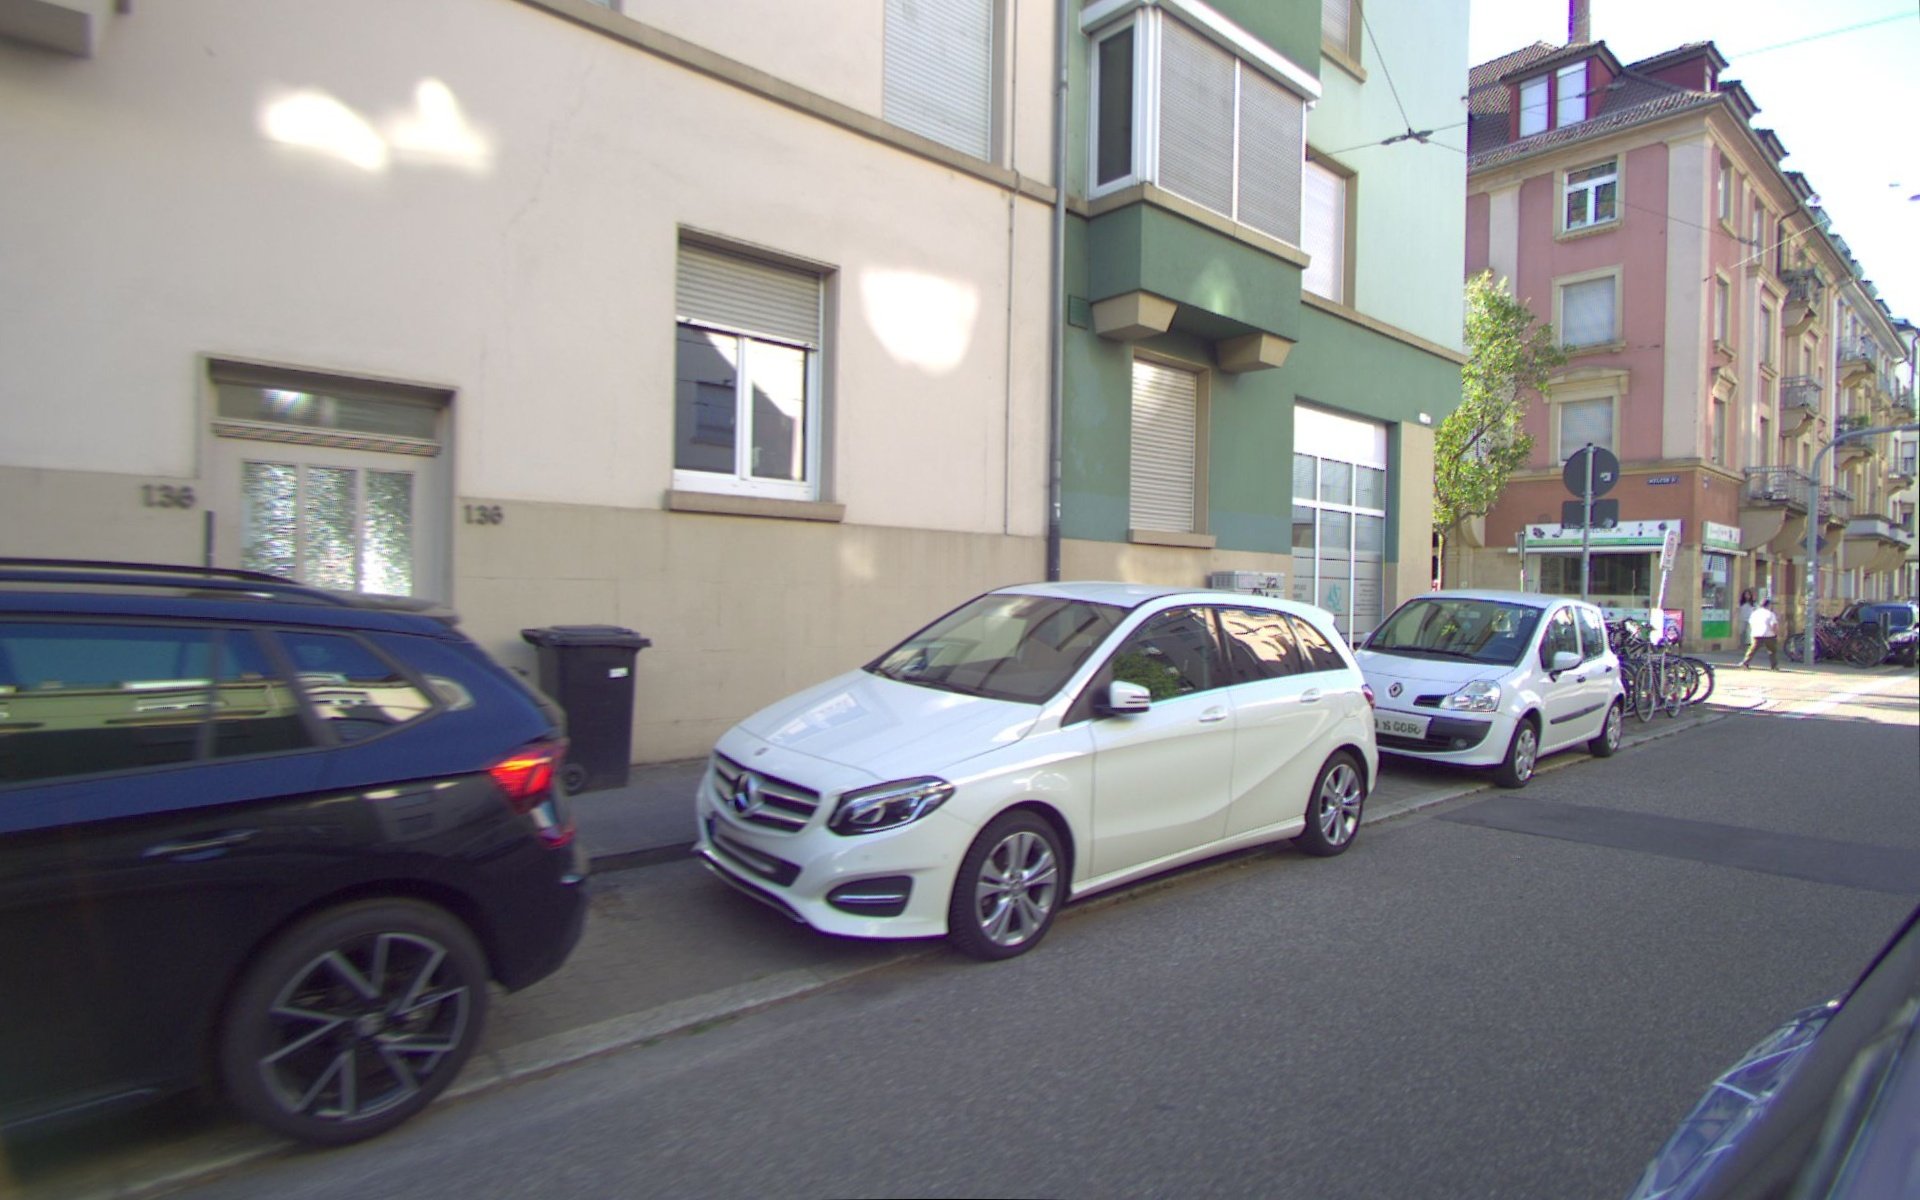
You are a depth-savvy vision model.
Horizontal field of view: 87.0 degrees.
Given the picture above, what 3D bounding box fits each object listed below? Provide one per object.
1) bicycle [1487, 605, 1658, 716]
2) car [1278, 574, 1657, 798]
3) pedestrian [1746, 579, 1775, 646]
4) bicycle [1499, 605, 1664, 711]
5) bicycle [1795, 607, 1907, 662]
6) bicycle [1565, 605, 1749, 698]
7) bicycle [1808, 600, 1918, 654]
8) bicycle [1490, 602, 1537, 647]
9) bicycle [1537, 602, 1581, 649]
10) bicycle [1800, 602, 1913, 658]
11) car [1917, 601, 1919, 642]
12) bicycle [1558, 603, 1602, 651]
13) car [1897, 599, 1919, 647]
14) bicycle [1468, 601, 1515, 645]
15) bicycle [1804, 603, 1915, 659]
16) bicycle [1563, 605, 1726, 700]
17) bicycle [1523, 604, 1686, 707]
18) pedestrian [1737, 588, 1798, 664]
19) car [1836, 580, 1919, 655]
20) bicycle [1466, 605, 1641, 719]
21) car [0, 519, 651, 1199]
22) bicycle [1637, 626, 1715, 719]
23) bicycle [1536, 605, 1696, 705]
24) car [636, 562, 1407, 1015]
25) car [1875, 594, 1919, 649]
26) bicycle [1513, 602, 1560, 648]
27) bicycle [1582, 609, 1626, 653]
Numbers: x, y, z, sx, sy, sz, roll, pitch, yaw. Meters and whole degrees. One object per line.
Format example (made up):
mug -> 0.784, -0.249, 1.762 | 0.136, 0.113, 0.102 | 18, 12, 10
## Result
bicycle -> 7.669, 0.718, 12.752 | 0.461, 1.168, 1.727 | 1, 4, -40
car -> 4.848, 0.609, 9.442 | 3.930, 1.652, 1.787 | 0, 1, -41
pedestrian -> 20.801, 0.322, 26.305 | 0.440, 1.708, 0.514 | 1, 0, -41
bicycle -> 8.075, 0.715, 13.219 | 0.461, 1.168, 1.727 | 1, 4, -40
bicycle -> 21.224, 0.801, 24.151 | 0.518, 1.175, 1.927 | 0, 2, -40
bicycle -> 10.437, 0.728, 15.227 | 0.833, 1.168, 2.092 | 0, 3, -40
bicycle -> 22.500, 0.650, 25.248 | 0.518, 1.242, 1.963 | 0, 2, -40
bicycle -> 14.842, 0.637, 27.122 | 1.698, 1.169, 0.544 | 0, 0, -41
bicycle -> 15.563, 0.652, 26.282 | 1.698, 1.169, 0.468 | 0, 0, -41
bicycle -> 21.678, 0.704, 24.497 | 0.518, 1.242, 1.963 | 0, 2, -40
car -> 36.999, 0.782, 37.687 | 4.397, 1.502, 1.657 | 0, 1, -42
bicycle -> 15.879, 0.678, 25.896 | 1.698, 1.169, 0.468 | 0, 0, -41
car -> 33.358, 0.762, 34.458 | 4.396, 1.532, 1.657 | 0, 1, -41
bicycle -> 14.476, 0.612, 27.559 | 1.698, 1.169, 0.544 | 0, 0, -41
bicycle -> 22.079, 0.746, 24.875 | 0.518, 1.242, 1.963 | 0, 2, -40
bicycle -> 9.940, 0.723, 14.762 | 0.461, 1.168, 1.848 | 1, 4, -40
bicycle -> 8.621, 0.705, 13.606 | 0.461, 1.168, 1.727 | 1, 4, -40
pedestrian -> 18.123, 0.568, 22.724 | 0.689, 1.654, 0.732 | -2, -1, -7
car -> 25.099, 0.423, 27.093 | 4.427, 1.756, 1.757 | 0, 4, -41
bicycle -> 7.201, 0.707, 12.353 | 0.461, 1.168, 1.727 | 1, 4, -40
car -> -3.129, 0.600, 2.445 | 4.262, 1.586, 1.658 | 0, 1, -41
bicycle -> 8.893, 0.868, 12.543 | 1.697, 1.058, 0.353 | 0, 0, -39
bicycle -> 9.015, 0.718, 13.974 | 0.461, 1.168, 1.727 | 1, 4, -40
car -> 0.611, 0.639, 5.633 | 4.250, 1.595, 1.787 | 0, 1, -41
car -> 29.899, 0.644, 31.382 | 3.663, 1.614, 1.757 | 0, 1, -40
bicycle -> 15.221, 0.643, 26.693 | 1.698, 1.169, 0.544 | 0, 0, -41
bicycle -> 16.294, 0.758, 25.584 | 1.698, 1.062, 0.468 | 0, 0, -41
